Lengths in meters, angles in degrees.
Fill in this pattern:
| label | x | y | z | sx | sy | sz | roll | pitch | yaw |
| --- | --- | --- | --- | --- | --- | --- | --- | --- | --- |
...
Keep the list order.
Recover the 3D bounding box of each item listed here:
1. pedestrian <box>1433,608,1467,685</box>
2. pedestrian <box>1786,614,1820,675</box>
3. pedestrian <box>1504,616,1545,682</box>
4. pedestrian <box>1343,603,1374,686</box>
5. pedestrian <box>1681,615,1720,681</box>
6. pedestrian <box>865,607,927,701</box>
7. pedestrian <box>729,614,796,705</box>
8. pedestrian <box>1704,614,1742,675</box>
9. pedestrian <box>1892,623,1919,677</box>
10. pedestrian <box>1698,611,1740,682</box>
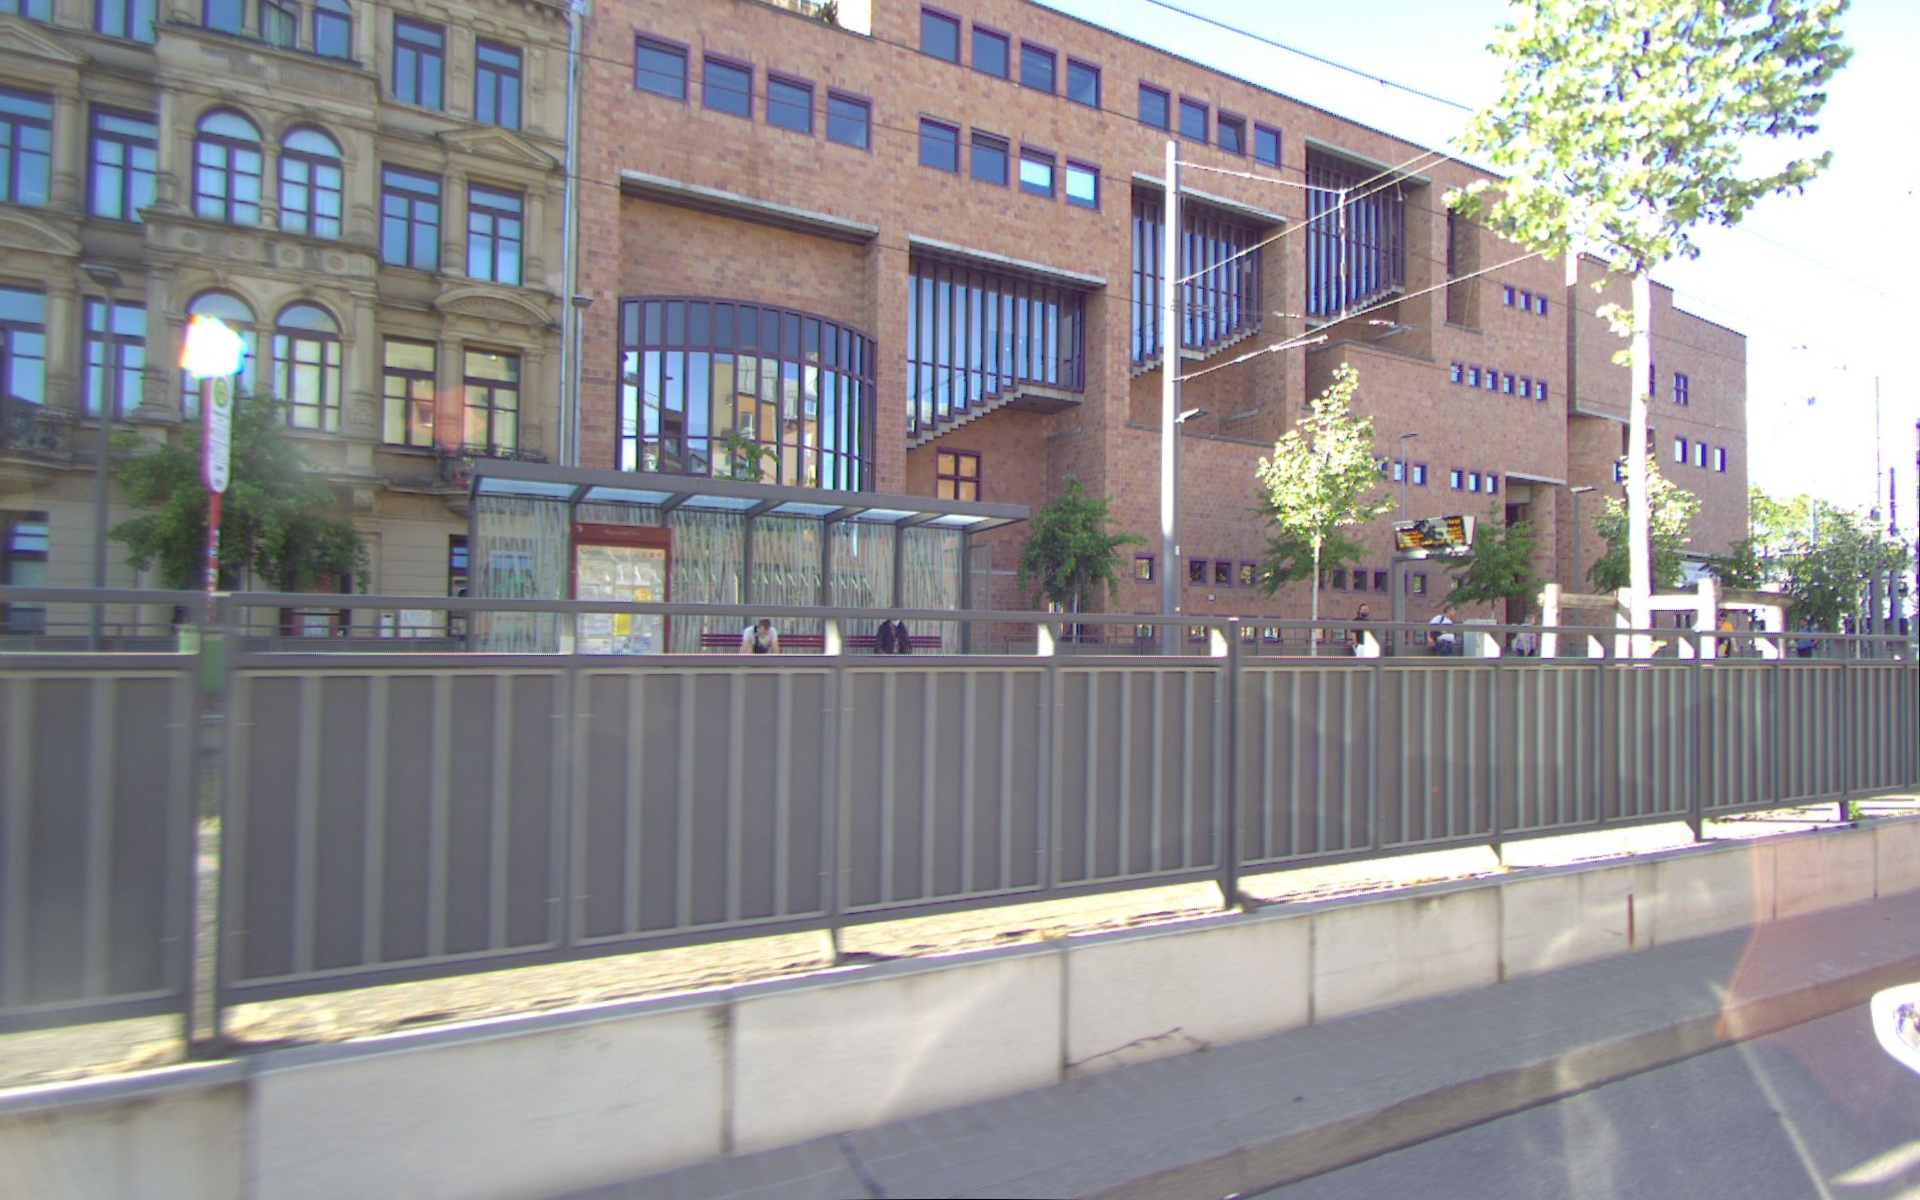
| label | x | y | z | sx | sy | sz | roll | pitch | yaw |
| --- | --- | --- | --- | --- | --- | --- | --- | --- | --- |
| pedestrian | 10.610 | 1.002 | 21.738 | 0.546 | 1.643 | 0.376 | 1 | 0 | -28 |
| pedestrian | 24.950 | 1.316 | 29.720 | 0.608 | 1.761 | 0.579 | 1 | -1 | -28 |
| pedestrian | 12.947 | 1.118 | 23.025 | 0.634 | 1.479 | 0.537 | 1 | 0 | -28 |
| pedestrian | 8.182 | 0.911 | 20.621 | 0.411 | 1.670 | 0.376 | 1 | 0 | -28 |
| pedestrian | 19.974 | 1.287 | 27.103 | 0.608 | 1.737 | 0.620 | 1 | -1 | -28 |
| pedestrian | -0.933 | 0.783 | 14.603 | 0.712 | 1.326 | 0.643 | 2 | -4 | -28 |
| pedestrian | -2.670 | 0.807 | 13.575 | 0.712 | 1.183 | 0.718 | 2 | -4 | -28 |
| pedestrian | 20.943 | 1.215 | 27.573 | 0.608 | 1.633 | 0.620 | 1 | -1 | -28 |
| pedestrian | 29.515 | 1.540 | 31.137 | 0.933 | 1.629 | 0.638 | 1 | 0 | -28 |
| pedestrian | 18.835 | 1.148 | 24.924 | 0.534 | 1.718 | 0.638 | 1 | 0 | -28 |
